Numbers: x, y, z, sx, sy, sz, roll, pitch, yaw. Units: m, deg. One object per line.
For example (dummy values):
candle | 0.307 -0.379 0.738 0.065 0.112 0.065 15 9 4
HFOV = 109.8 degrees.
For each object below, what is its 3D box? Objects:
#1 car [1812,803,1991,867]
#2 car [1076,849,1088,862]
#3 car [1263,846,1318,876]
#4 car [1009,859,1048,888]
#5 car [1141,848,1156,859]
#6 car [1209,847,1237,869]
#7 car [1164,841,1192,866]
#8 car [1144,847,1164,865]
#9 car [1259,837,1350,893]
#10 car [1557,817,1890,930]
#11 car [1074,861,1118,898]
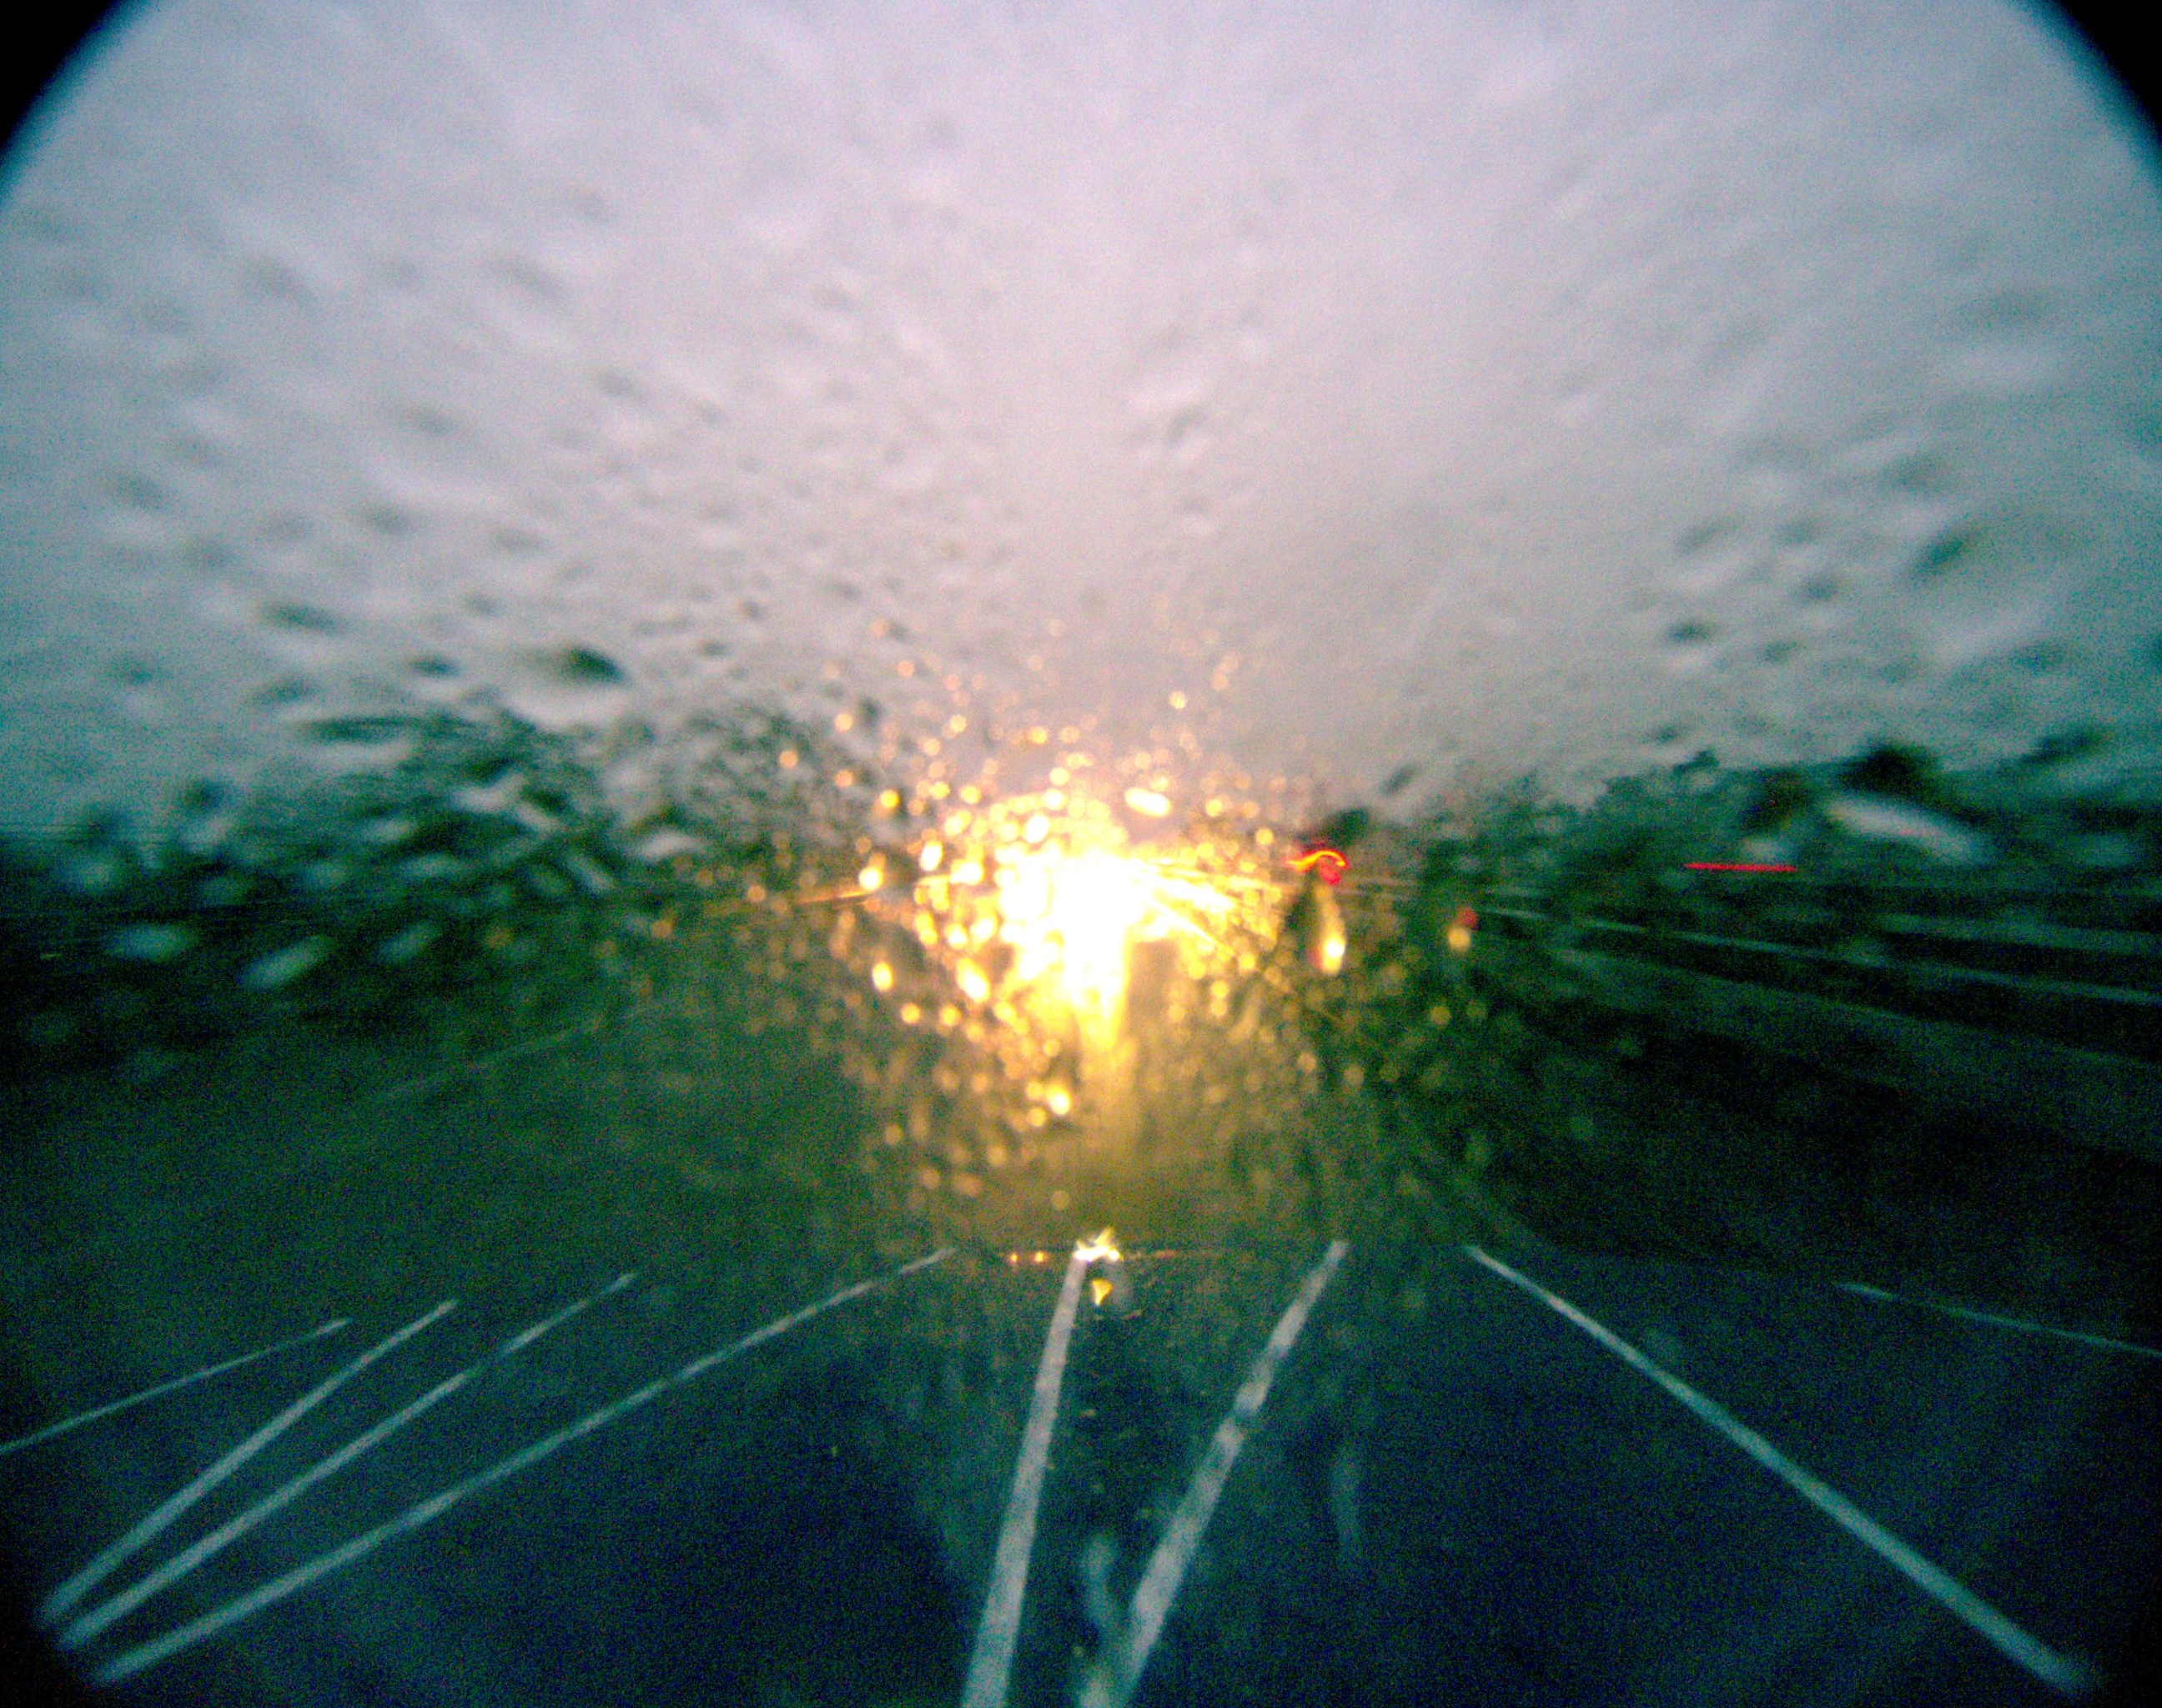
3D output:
car | 28.775 -0.627 26.858 1.998 2.002 4.000 -3 0 1
car | 0.205 0.283 127.926 1.998 2.002 4.000 -3 0 1
car | 11.457 0.371 41.805 1.973 1.515 4.199 -2 0 2
car | -2.950 1.100 43.380 1.850 1.521 4.149 -2 -1 1
car | 9.985 -0.025 113.021 1.969 1.493 4.374 -2 0 1
car | 12.374 0.326 66.336 1.747 1.805 4.000 -2 0 1
car | 8.468 -0.001 66.734 1.969 2.041 4.374 -2 0 1
car | 8.985 0.237 94.267 2.086 2.135 4.462 -2 0 2
car | 7.659 0.359 26.419 1.998 1.718 4.000 -3 0 1
car | 10.971 0.293 13.576 1.998 1.587 4.656 -3 0 0
car | 0.712 1.130 34.797 1.850 1.521 4.150 -2 -1 2
